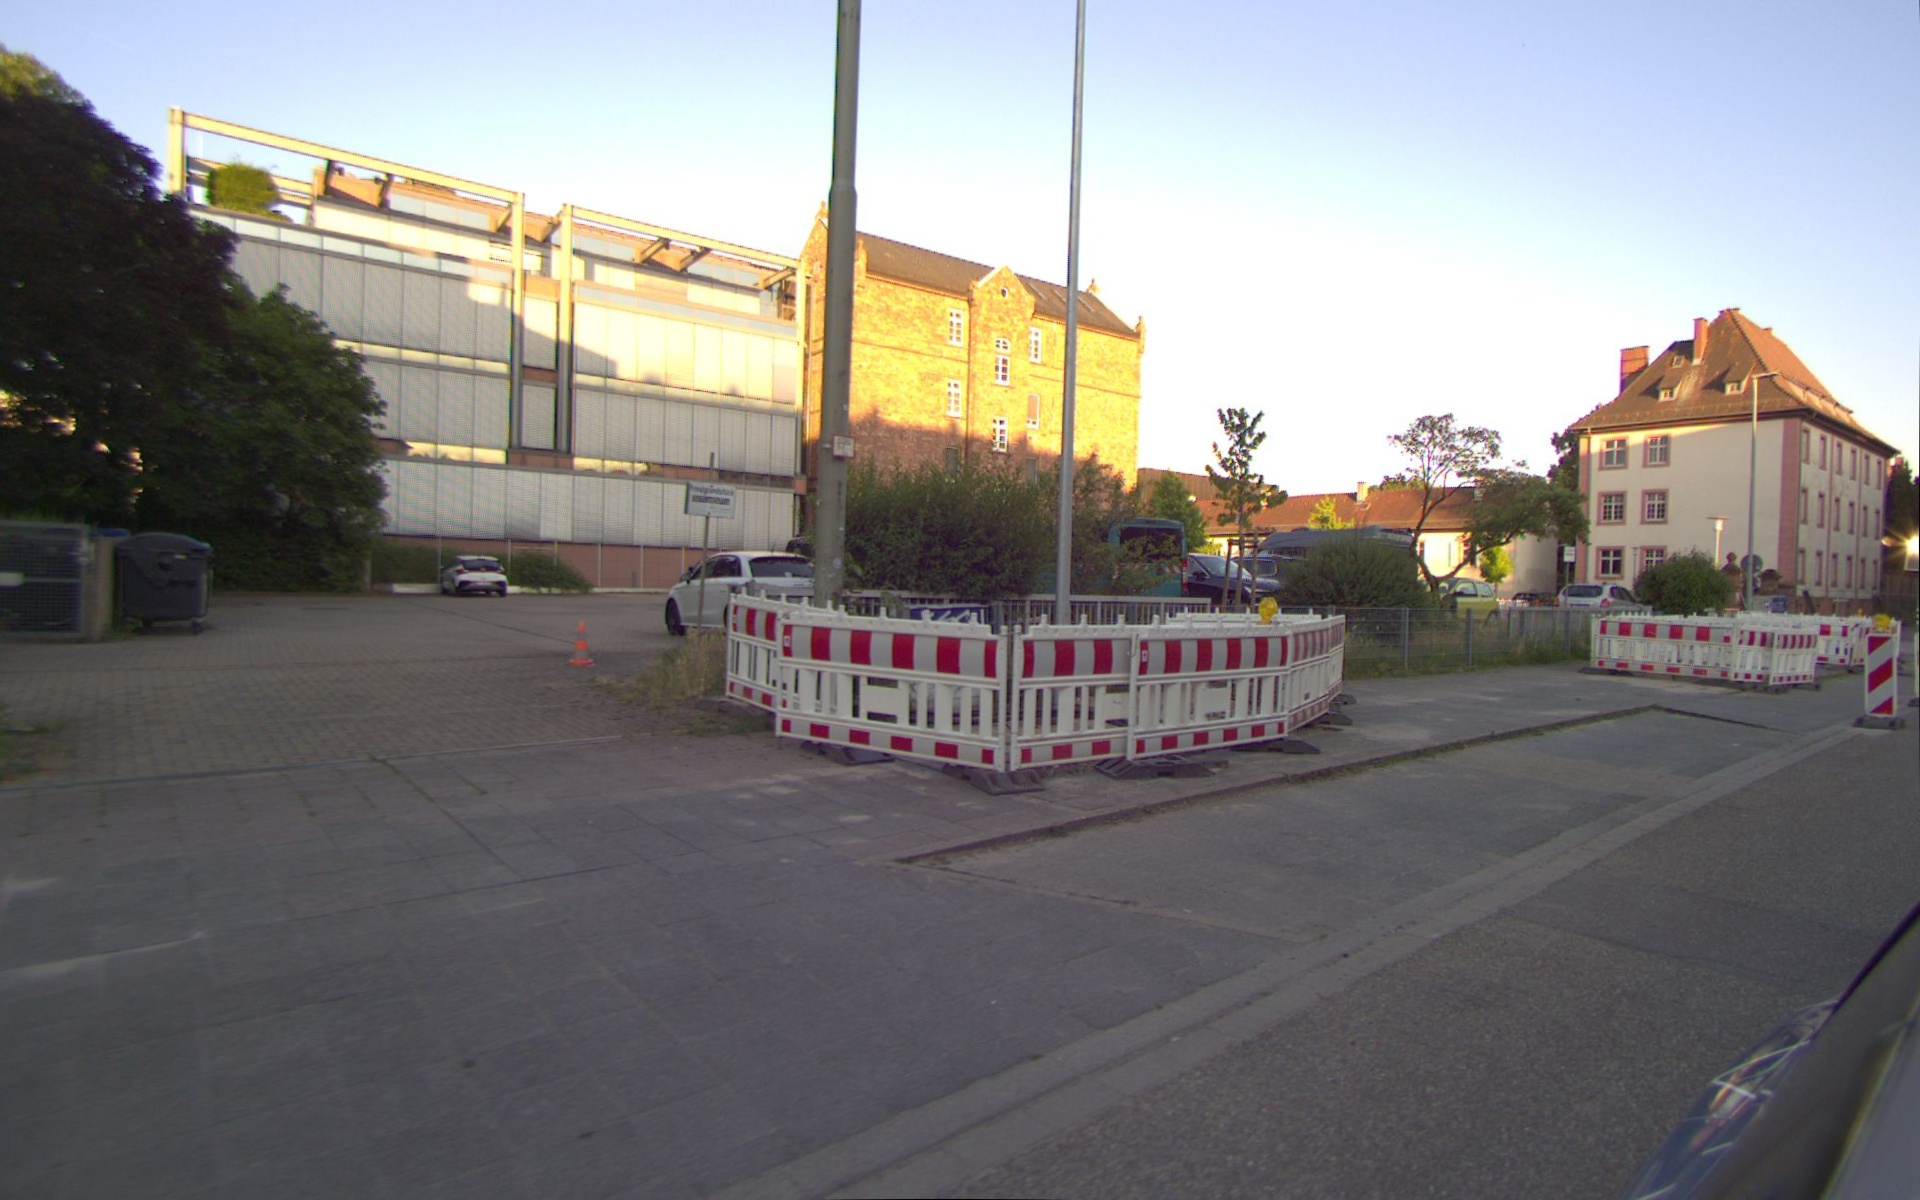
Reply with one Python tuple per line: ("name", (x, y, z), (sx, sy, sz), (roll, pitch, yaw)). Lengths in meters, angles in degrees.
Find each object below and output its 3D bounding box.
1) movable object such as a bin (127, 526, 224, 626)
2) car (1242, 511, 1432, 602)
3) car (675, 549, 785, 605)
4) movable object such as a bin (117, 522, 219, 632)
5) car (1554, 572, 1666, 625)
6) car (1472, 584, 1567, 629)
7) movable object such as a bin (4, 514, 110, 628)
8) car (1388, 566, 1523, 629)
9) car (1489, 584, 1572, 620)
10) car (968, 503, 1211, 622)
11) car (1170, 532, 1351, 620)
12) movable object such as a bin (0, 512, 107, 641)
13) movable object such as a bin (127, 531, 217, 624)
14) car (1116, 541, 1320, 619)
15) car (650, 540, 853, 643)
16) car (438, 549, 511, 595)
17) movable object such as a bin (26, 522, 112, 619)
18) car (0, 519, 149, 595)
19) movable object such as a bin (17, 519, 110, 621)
("movable object such as a bin", (-12.303, -0.380, 15.860), (1.139, 1.483, 1.389), (1, 2, -41))
("car", (10.070, -1.133, 27.311), (1.963, 2.224, 4.437), (1, 1, -36))
("car", (-6.899, -0.722, 30.101), (1.946, 1.536, 3.946), (1, 2, -33))
("movable object such as a bin", (-11.347, -0.337, 14.493), (1.090, 1.483, 1.318), (1, 2, -41))
("car", (22.125, -0.054, 34.389), (4.723, 1.650, 1.918), (0, 1, -41))
("car", (21.840, 0.228, 39.473), (3.930, 1.620, 2.014), (0, 1, -41))
("movable object such as a bin", (-12.502, -0.405, 14.056), (1.044, 1.483, 1.389), (1, 2, -41))
("car", (14.076, -0.067, 28.674), (4.058, 1.669, 1.702), (1, 1, -36))
("car", (28.457, 0.089, 50.440), (3.922, 1.723, 2.001), (1, 1, -33))
("car", (2.517, -0.739, 21.008), (2.245, 2.156, 5.040), (1, 1, -33))
("car", (7.576, -0.639, 25.832), (1.962, 2.038, 4.000), (1, 2, -36))
("movable object such as a bin", (-11.032, -0.295, 12.303), (0.994, 1.483, 1.000), (1, 2, -41))
("movable object such as a bin", (-13.339, -0.392, 17.118), (1.139, 1.483, 1.389), (1, 2, -41))
("car", (6.016, -0.489, 24.076), (1.963, 1.669, 4.437), (1, 1, -36))
("car", (-3.497, -0.204, 16.498), (1.664, 1.470, 3.841), (1, 2, -39))
("car", (-17.600, -1.032, 36.591), (1.820, 1.536, 3.733), (1, 2, -34))
("movable object such as a bin", (-14.212, -0.466, 16.166), (0.994, 1.483, 1.000), (1, 2, -41))
("car", (-21.781, -0.995, 23.539), (4.419, 1.689, 1.916), (0, 1, -44))
("movable object such as a bin", (-13.329, -0.443, 15.080), (0.994, 1.447, 1.105), (1, 2, -41))
